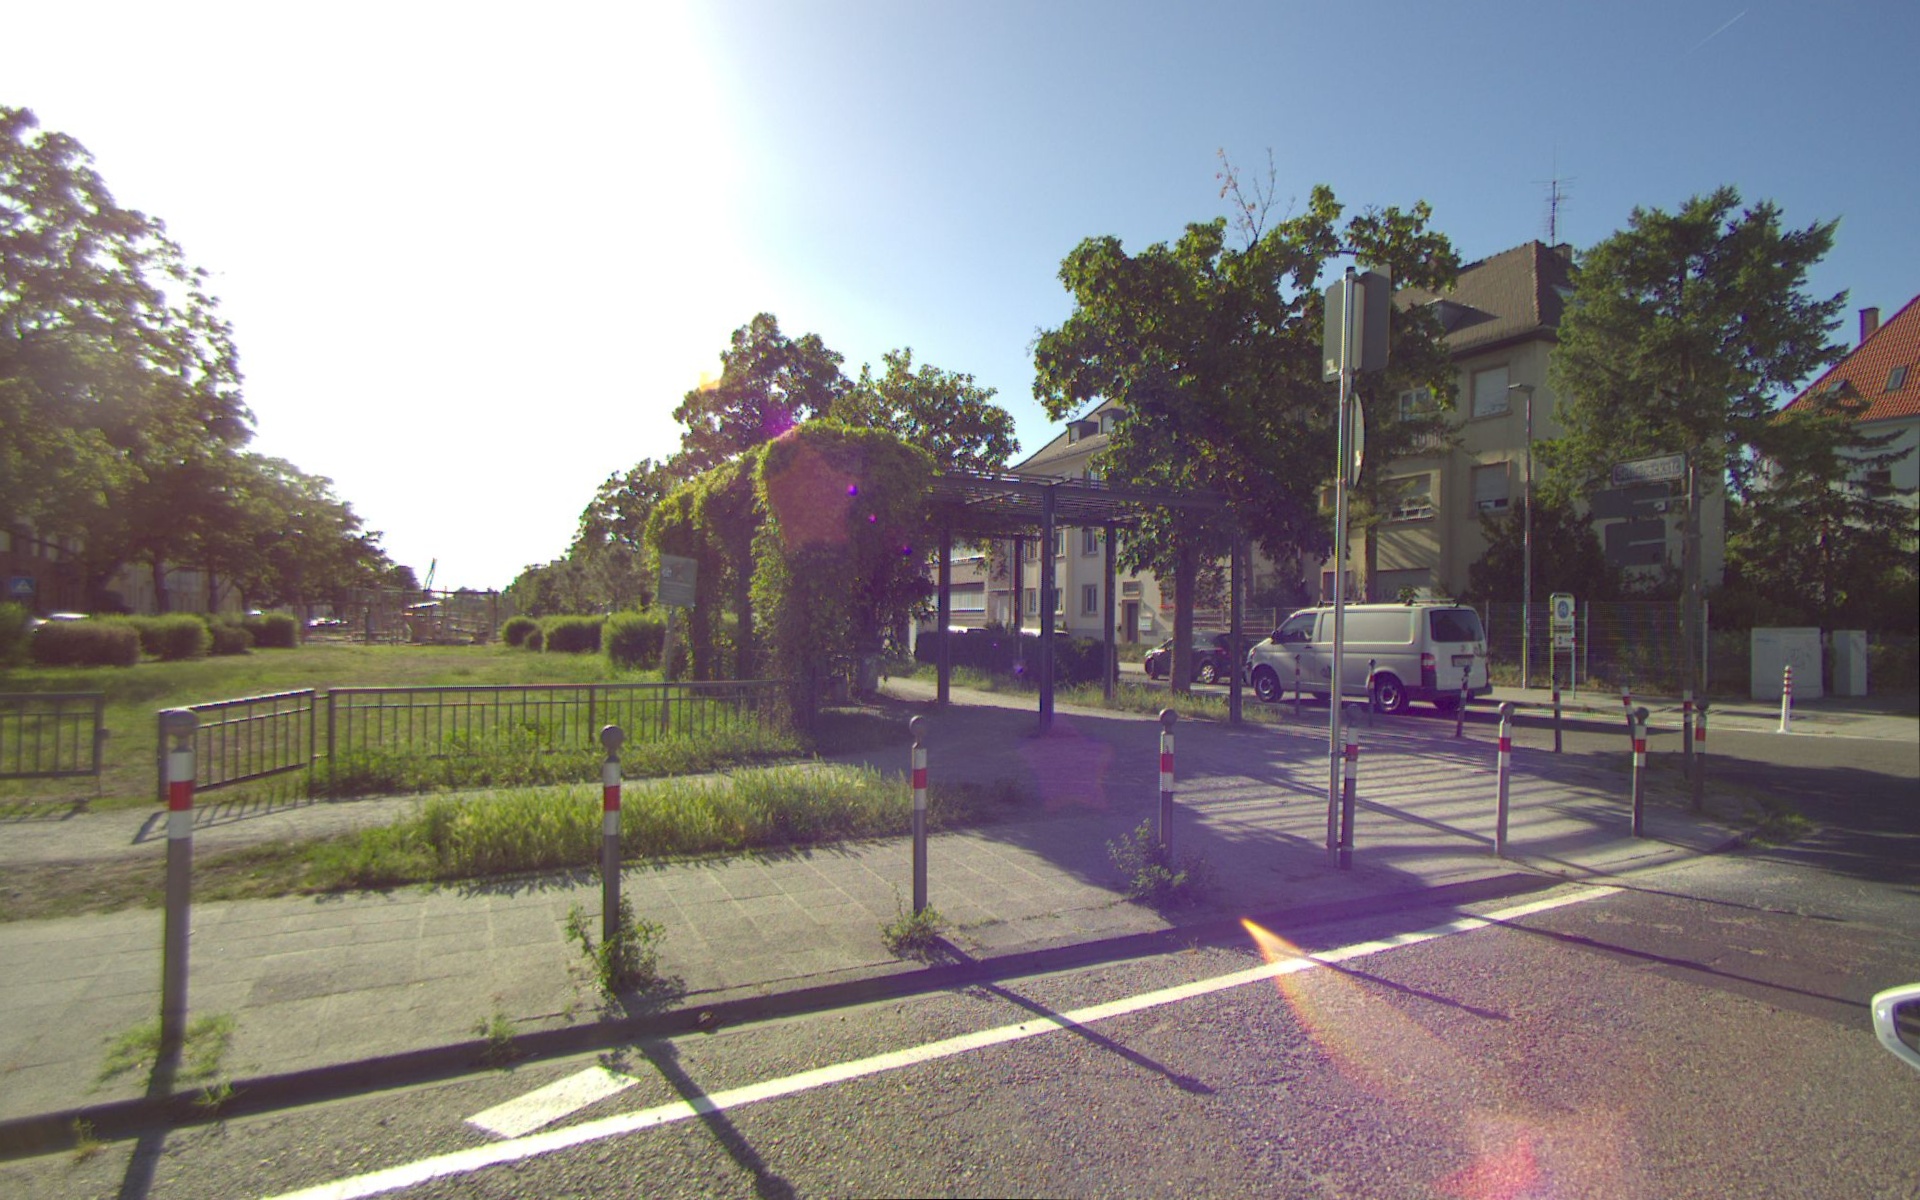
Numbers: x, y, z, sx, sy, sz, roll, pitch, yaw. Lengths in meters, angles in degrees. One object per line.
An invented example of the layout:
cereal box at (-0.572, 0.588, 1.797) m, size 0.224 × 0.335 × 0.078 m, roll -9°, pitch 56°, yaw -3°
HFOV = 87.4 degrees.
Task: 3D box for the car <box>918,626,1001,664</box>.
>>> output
car at (-0.057, 1.908, 43.280) m, size 1.781 × 1.514 × 3.967 m, roll 3°, pitch -2°, yaw -31°

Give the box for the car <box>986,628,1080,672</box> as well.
car at (2.684, 1.846, 37.759) m, size 1.778 × 1.514 × 3.974 m, roll 2°, pitch -2°, yaw -26°

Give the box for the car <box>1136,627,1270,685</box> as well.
car at (6.829, 1.559, 28.625) m, size 1.655 × 1.514 × 3.801 m, roll 2°, pitch -2°, yaw -26°

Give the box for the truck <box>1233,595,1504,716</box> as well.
truck at (7.780, 1.010, 19.690) m, size 1.974 × 2.063 × 4.841 m, roll 1°, pitch -2°, yaw -27°
